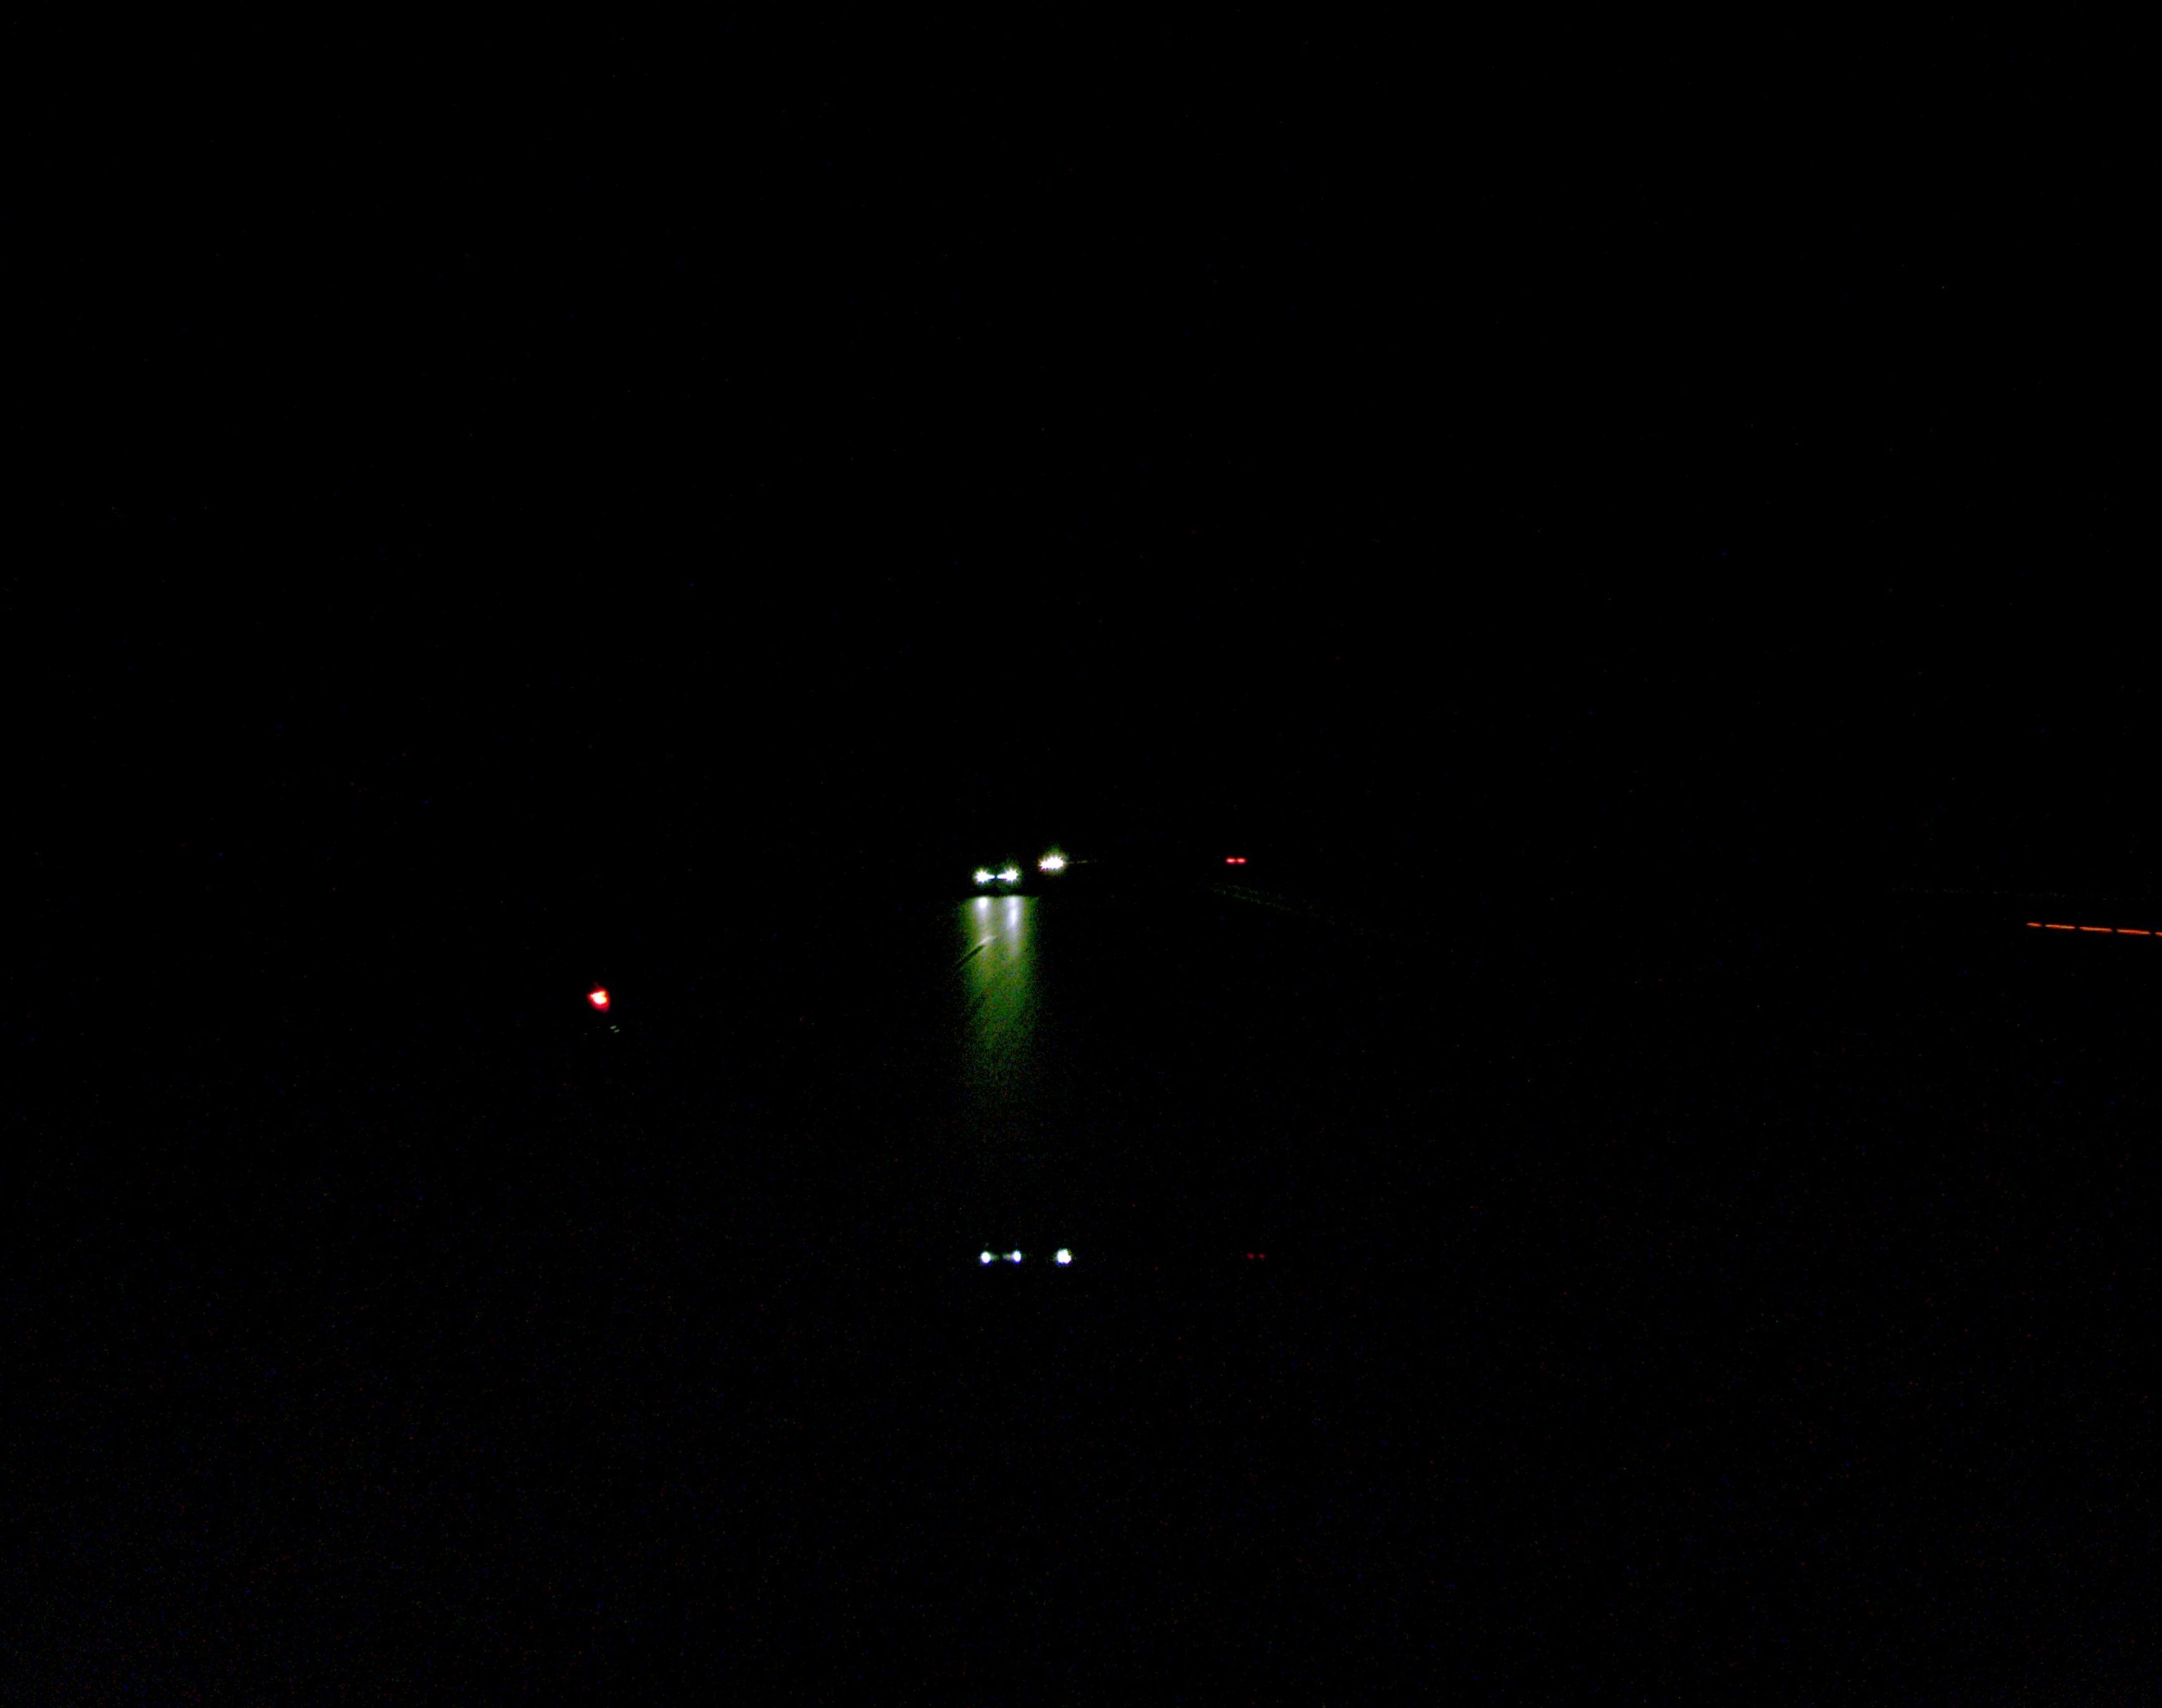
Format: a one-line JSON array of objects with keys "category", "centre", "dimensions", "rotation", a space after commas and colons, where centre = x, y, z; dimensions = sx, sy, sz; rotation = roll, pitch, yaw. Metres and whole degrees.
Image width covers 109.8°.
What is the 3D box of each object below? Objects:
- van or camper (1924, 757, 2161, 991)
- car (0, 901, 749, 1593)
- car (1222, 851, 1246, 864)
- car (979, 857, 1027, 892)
[{"category": "van or camper", "centre": [13.232, 0.251, 6.965], "dimensions": [2.335, 2.616, 7.777], "rotation": [2, 0, 1]}, {"category": "car", "centre": [-3.405, 1.071, 3.654], "dimensions": [1.690, 1.405, 4.225], "rotation": [-1, 0, 1]}, {"category": "car", "centre": [18.516, 0.419, 92.092], "dimensions": [1.795, 1.532, 4.551], "rotation": [2, 0, -1]}, {"category": "car", "centre": [-3.725, 0.952, 36.784], "dimensions": [1.795, 1.532, 4.225], "rotation": [-1, 0, 1]}]
